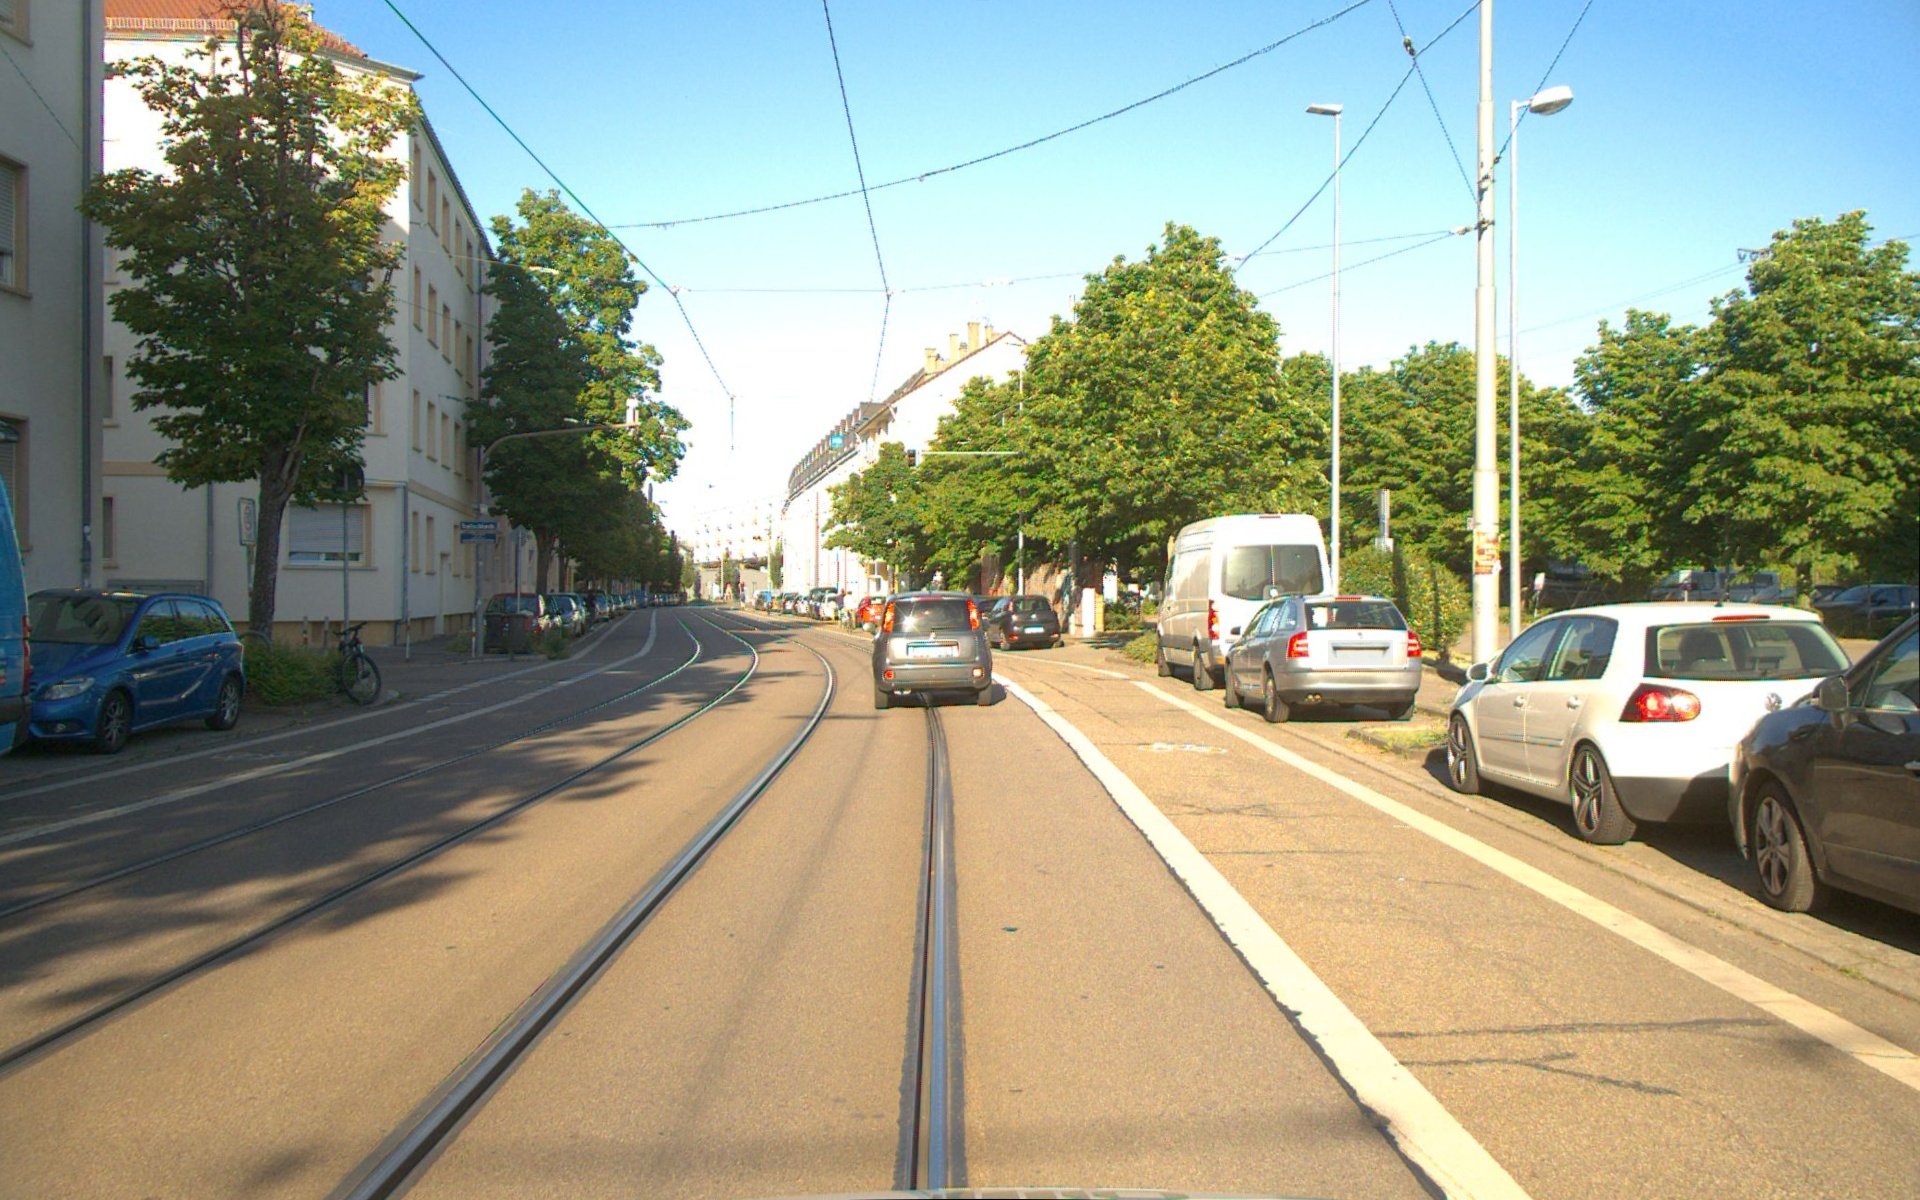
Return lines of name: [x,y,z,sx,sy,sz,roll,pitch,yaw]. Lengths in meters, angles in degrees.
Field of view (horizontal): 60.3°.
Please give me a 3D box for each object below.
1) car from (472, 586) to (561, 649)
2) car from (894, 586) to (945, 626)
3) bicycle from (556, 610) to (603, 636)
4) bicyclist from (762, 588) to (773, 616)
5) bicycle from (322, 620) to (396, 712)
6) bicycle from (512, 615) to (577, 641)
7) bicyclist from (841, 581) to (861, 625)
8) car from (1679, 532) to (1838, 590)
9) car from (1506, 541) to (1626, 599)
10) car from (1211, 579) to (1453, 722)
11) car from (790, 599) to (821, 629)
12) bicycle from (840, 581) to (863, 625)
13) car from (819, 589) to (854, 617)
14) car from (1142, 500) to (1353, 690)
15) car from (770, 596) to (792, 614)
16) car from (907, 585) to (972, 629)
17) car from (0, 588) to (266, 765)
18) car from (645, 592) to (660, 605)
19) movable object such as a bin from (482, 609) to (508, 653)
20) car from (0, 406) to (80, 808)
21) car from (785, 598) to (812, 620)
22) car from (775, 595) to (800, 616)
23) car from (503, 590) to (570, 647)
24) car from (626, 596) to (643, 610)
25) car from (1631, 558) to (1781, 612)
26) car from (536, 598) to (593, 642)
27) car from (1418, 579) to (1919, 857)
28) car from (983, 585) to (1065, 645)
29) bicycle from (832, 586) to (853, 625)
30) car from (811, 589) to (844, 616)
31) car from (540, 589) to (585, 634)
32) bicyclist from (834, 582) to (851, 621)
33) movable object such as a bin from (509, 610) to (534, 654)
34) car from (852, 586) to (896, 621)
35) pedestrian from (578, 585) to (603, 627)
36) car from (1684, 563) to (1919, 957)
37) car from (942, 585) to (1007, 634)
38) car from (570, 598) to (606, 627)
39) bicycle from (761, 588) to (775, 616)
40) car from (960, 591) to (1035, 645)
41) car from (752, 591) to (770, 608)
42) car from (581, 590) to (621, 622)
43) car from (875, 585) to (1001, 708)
car: [-11.552,0.439,43.298,1.656,1.557,3.994,1,0,-7]
car: [-1.716,0.242,68.681,1.657,1.556,3.994,-2,0,-7]
bicycle: [-15.845,0.947,68.917,1.889,1.064,0.475,1,0,-10]
bicyclist: [-14.129,0.122,121.435,0.702,2.049,0.829,1,0,-12]
bicycle: [-8.170,0.874,22.559,0.502,1.154,2.028,1,0,-7]
bicycle: [-14.061,0.941,56.002,2.089,0.839,0.476,1,0,-12]
bicyclist: [-4.463,0.113,67.719,0.687,1.790,0.755,1,0,-12]
car: [27.117,-1.303,56.249,4.596,1.847,1.958,1,0,-9]
car: [24.671,-1.233,67.372,4.115,2.280,2.137,-1,0,-13]
car: [4.498,0.552,20.730,1.872,1.556,4.599,-1,0,-2]
car: [-10.392,0.937,111.216,1.626,1.978,4.652,1,0,-11]
bicycle: [-4.432,0.115,67.622,0.663,1.777,2.152,1,0,-11]
car: [-7.180,0.152,95.955,1.626,1.599,3.489,1,0,-11]
car: [4.560,-0.085,27.376,2.136,2.712,6.088,-2,0,-2]
car: [-14.894,0.391,137.567,1.555,1.430,3.367,1,0,-11]
car: [-0.819,0.264,63.334,1.660,1.556,3.987,-2,0,-13]
car: [-9.070,0.683,17.235,1.754,1.588,4.641,1,0,-1]
car: [-36.888,-0.184,198.174,1.675,1.523,3.713,1,0,-10]
movable object such as a bin: [-10.809,0.723,38.444,0.475,1.005,0.658,1,0,-8]
car: [-7.872,0.047,9.833,1.976,2.875,6.032,1,0,1]
car: [-11.447,0.608,117.072,1.626,1.526,3.121,1,0,-11]
car: [-13.101,0.398,125.584,1.555,1.429,3.367,-4,1,-11]
car: [-12.162,0.499,47.635,1.755,1.557,3.845,1,0,-13]
car: [-35.847,0.289,182.319,1.675,1.523,3.713,1,0,-10]
car: [26.726,-0.540,59.335,4.596,1.847,1.958,1,0,-9]
car: [-14.275,0.690,59.854,1.657,1.501,4.650,1,0,-9]
car: [4.683,0.656,11.344,1.693,1.538,4.249,1,0,-3]
car: [1.765,0.401,46.730,1.657,1.556,3.994,-2,0,-7]
bicycle: [-5.466,0.267,76.839,0.663,1.777,2.152,1,0,-11]
car: [-8.055,0.134,100.316,1.626,1.599,3.866,1,0,-11]
car: [-15.707,0.434,65.291,1.624,1.697,4.280,1,0,-15]
bicyclist: [-5.469,0.081,76.861,0.687,1.790,0.755,1,0,-12]
movable object such as a bin: [-10.225,0.736,38.554,0.475,1.005,0.658,1,0,-8]
car: [-4.062,0.140,77.926,1.606,1.534,3.389,-3,1,-10]
pedestrian: [-16.085,0.253,71.981,0.840,1.807,0.728,-2,1,-30]
car: [4.821,0.638,6.793,1.693,1.632,4.342,-2,0,-1]
car: [0.457,0.301,56.424,1.657,1.556,3.994,-2,0,-7]
car: [-20.713,0.685,92.274,1.776,1.534,4.669,1,0,-11]
bicycle: [-14.109,0.142,121.427,0.728,2.049,2.804,1,0,-11]
car: [1.123,0.531,51.348,1.657,1.556,4.348,-2,0,-7]
car: [-19.499,-0.043,162.074,1.555,1.627,3.367,1,0,-11]
car: [-17.953,0.294,82.811,1.776,1.534,4.180,1,0,-11]
car: [-0.304,0.585,23.439,1.616,1.568,4.234,0,0,-1]
